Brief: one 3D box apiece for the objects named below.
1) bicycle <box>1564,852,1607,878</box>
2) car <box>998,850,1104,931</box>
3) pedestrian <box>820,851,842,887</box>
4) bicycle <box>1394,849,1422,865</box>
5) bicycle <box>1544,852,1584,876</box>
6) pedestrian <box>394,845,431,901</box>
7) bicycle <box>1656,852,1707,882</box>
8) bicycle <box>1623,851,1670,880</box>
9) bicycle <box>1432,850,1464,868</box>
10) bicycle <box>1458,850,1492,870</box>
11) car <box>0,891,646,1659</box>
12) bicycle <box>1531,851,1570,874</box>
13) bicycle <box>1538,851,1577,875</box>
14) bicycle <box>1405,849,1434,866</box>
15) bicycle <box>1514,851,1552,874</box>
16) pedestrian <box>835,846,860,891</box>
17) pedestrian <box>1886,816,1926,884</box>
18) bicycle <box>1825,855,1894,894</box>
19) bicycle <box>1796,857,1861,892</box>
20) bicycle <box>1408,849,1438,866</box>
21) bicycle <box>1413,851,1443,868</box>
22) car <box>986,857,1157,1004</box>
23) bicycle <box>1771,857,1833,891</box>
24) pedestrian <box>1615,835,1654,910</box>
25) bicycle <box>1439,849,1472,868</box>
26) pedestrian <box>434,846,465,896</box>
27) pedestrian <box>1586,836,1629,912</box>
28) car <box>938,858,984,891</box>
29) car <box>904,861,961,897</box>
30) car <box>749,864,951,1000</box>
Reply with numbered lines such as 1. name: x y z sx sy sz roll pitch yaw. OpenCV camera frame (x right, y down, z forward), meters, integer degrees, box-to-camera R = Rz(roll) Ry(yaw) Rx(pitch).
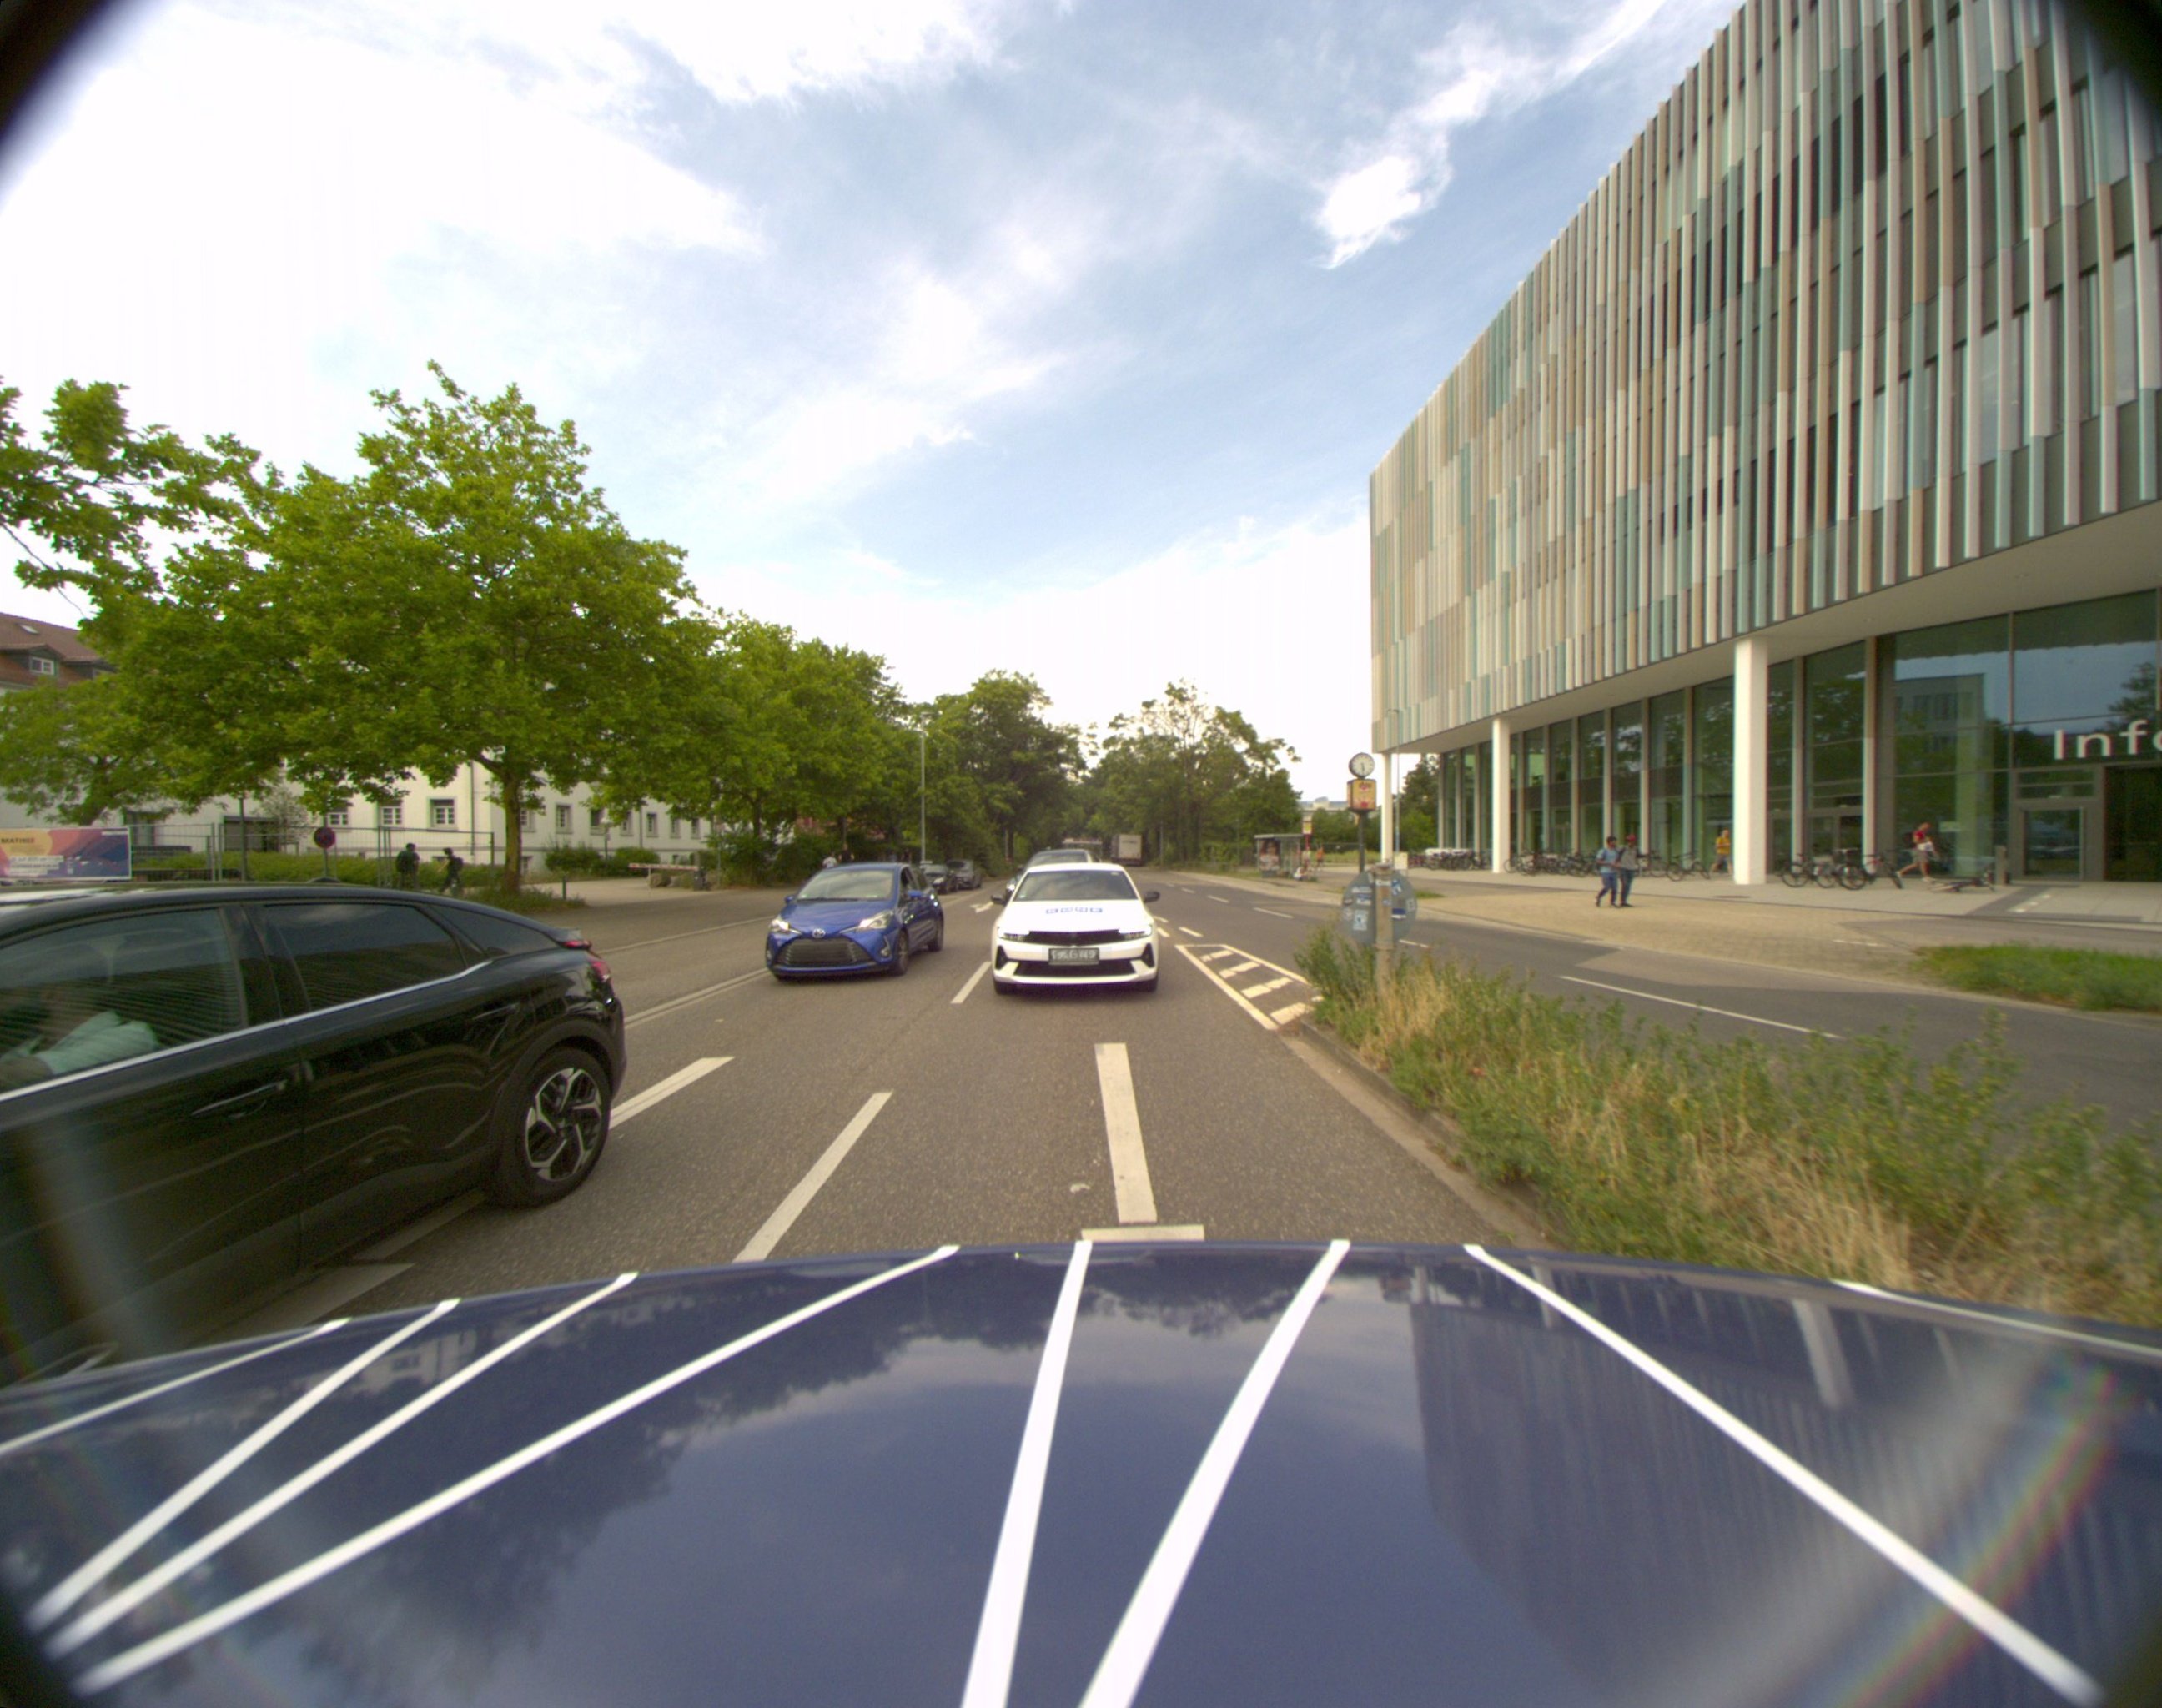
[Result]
1. bicycle: 21.559 0.461 32.479 1.582 1.017 0.389 -3 1 -5
2. car: -0.594 0.780 18.759 1.903 1.639 4.646 0 2 7
3. pedestrian: -10.819 0.632 32.840 0.646 1.556 0.804 -1 1 1
4. bicycle: 21.973 0.188 51.007 1.703 1.017 0.434 -3 1 -5
5. bicycle: 21.687 0.453 34.107 1.582 1.017 0.389 -3 1 -5
6. pedestrian: -21.013 0.584 23.879 0.586 1.729 0.594 -1 1 1
7. bicycle: 21.655 0.473 27.406 1.582 1.017 0.389 -3 1 -5
8. bicycle: 21.894 0.441 29.436 1.582 1.017 0.389 -3 1 -5
9. bicycle: 21.745 0.289 45.016 1.703 1.017 0.434 -3 1 -5
10. bicycle: 22.054 0.340 42.526 1.703 1.017 0.389 -3 1 -5
11. car: -3.271 1.009 1.907 1.804 1.547 4.176 -2 0 2
12. bicycle: 21.749 0.396 35.199 1.582 1.017 0.389 -3 1 -5
13. bicycle: 21.751 0.426 34.672 1.582 1.017 0.389 -3 1 -5
14. bicycle: 22.058 0.208 49.525 1.703 1.017 0.434 -3 1 -5
15. bicycle: 21.632 0.409 36.363 1.582 1.017 0.389 -3 1 -5
16. pedestrian: -10.078 0.623 32.808 0.798 1.922 0.760 -1 1 0
17. pedestrian: 25.018 -0.113 23.049 0.512 2.031 0.625 -1 0 5
18. bicycle: 21.521 0.555 21.003 1.546 0.989 0.399 -3 1 -4
19. bicycle: 21.483 0.591 21.836 1.546 0.932 0.394 -3 1 -5
20. bicycle: 21.885 0.227 48.648 1.703 1.017 0.434 -3 1 -5
21. bicycle: 21.653 0.335 47.456 1.703 1.017 0.434 -3 1 -5
22. car: -0.101 0.787 10.167 1.744 1.430 4.781 -1 1 0
23. bicycle: 21.454 0.579 22.602 1.546 0.932 0.389 -3 1 -5
24. pedestrian: 13.696 0.449 18.804 0.512 1.827 0.624 -1 0 0
25. bicycle: 21.788 0.282 44.167 1.703 1.017 0.434 -3 1 -5
26. pedestrian: -22.209 0.579 26.725 0.530 1.743 0.594 0 1 4
27. pedestrian: 13.030 0.485 18.830 0.512 1.827 0.772 -1 0 0
28. car: -5.802 0.964 37.213 1.606 1.454 4.017 -1 1 0
29. car: -6.267 1.010 32.486 1.703 1.361 3.831 -1 1 0
30. car: -3.027 0.941 10.813 1.703 1.485 3.831 -1 1 0
